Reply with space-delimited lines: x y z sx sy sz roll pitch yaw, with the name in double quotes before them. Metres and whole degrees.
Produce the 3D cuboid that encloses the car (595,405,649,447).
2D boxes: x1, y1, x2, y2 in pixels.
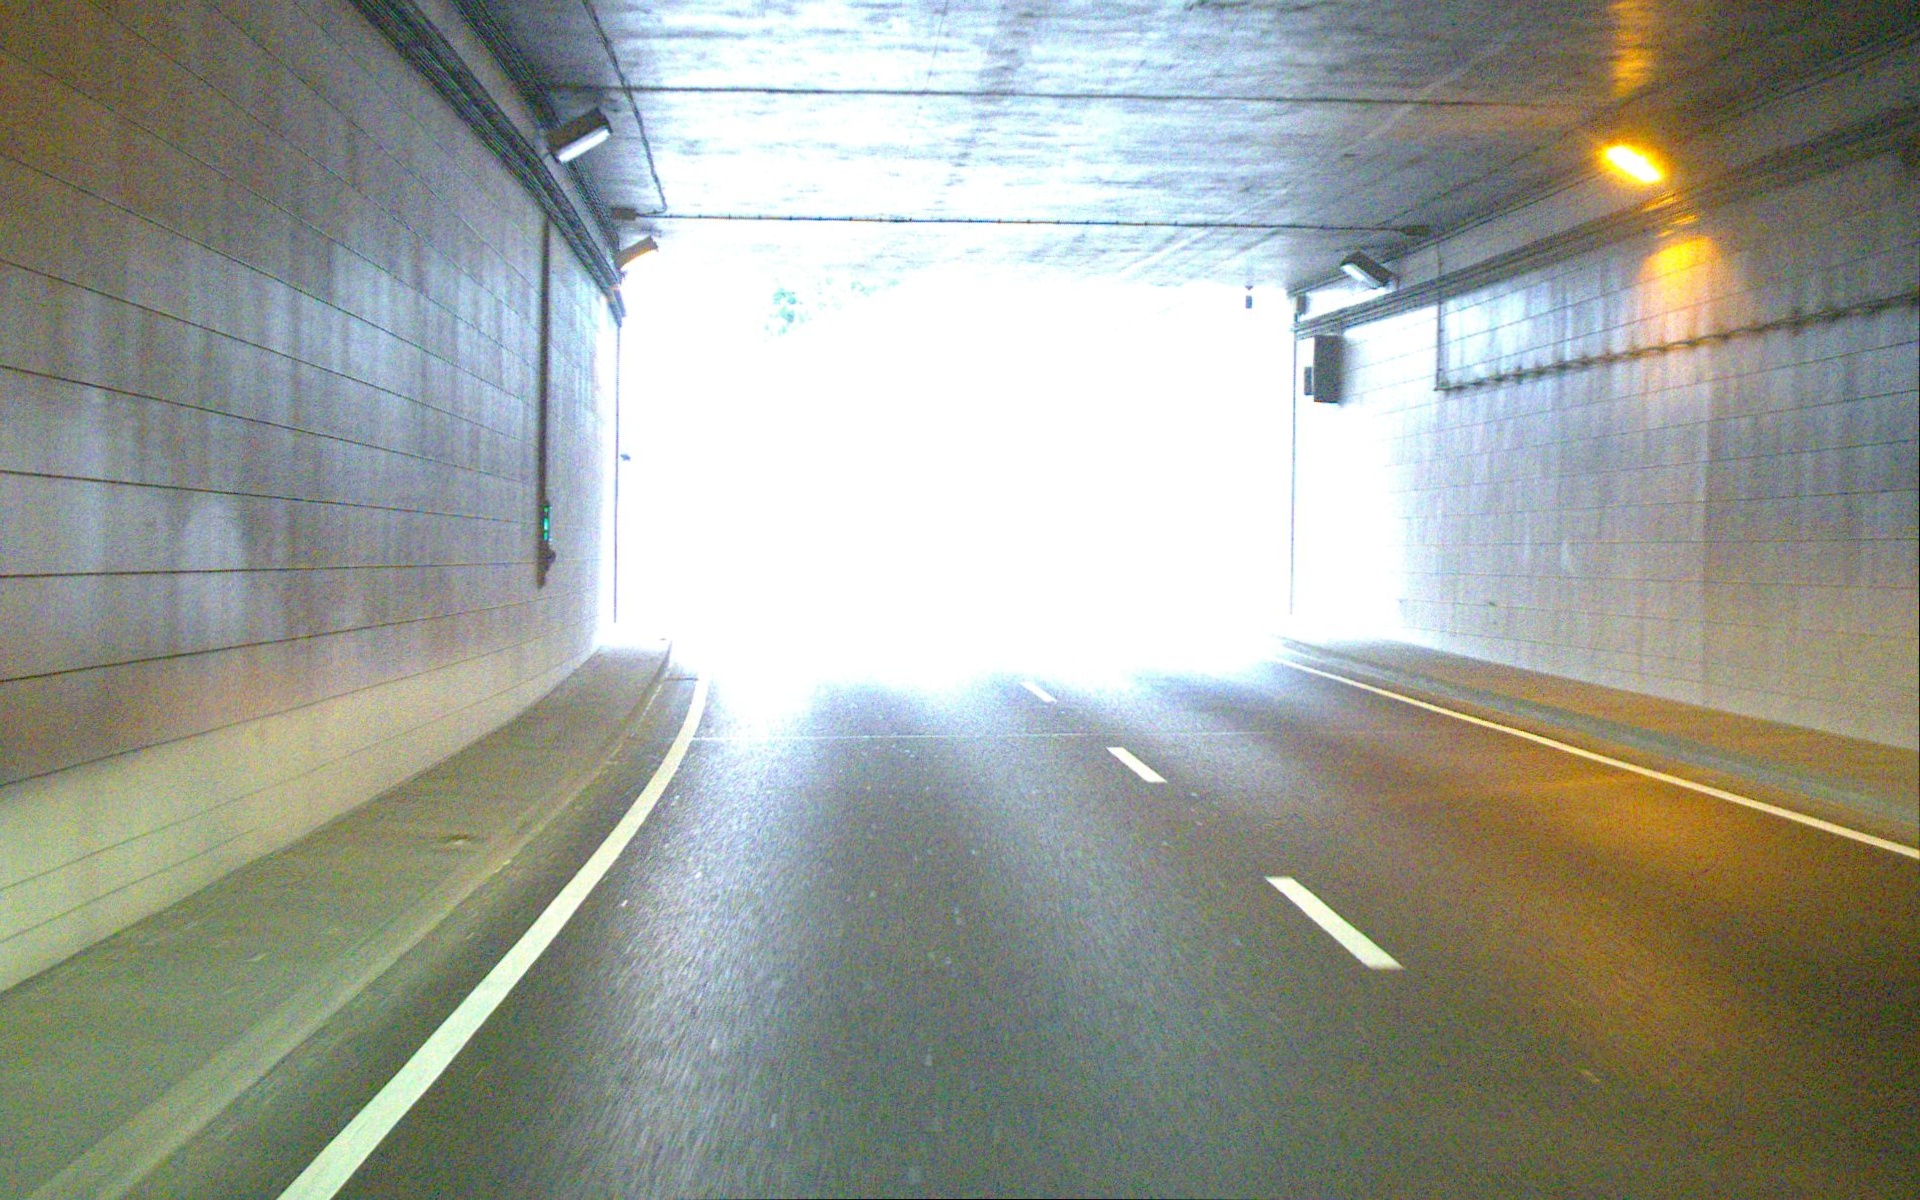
"car" -15.176 -7.785 154.256 1.869 1.726 4.001 0 1 -13
